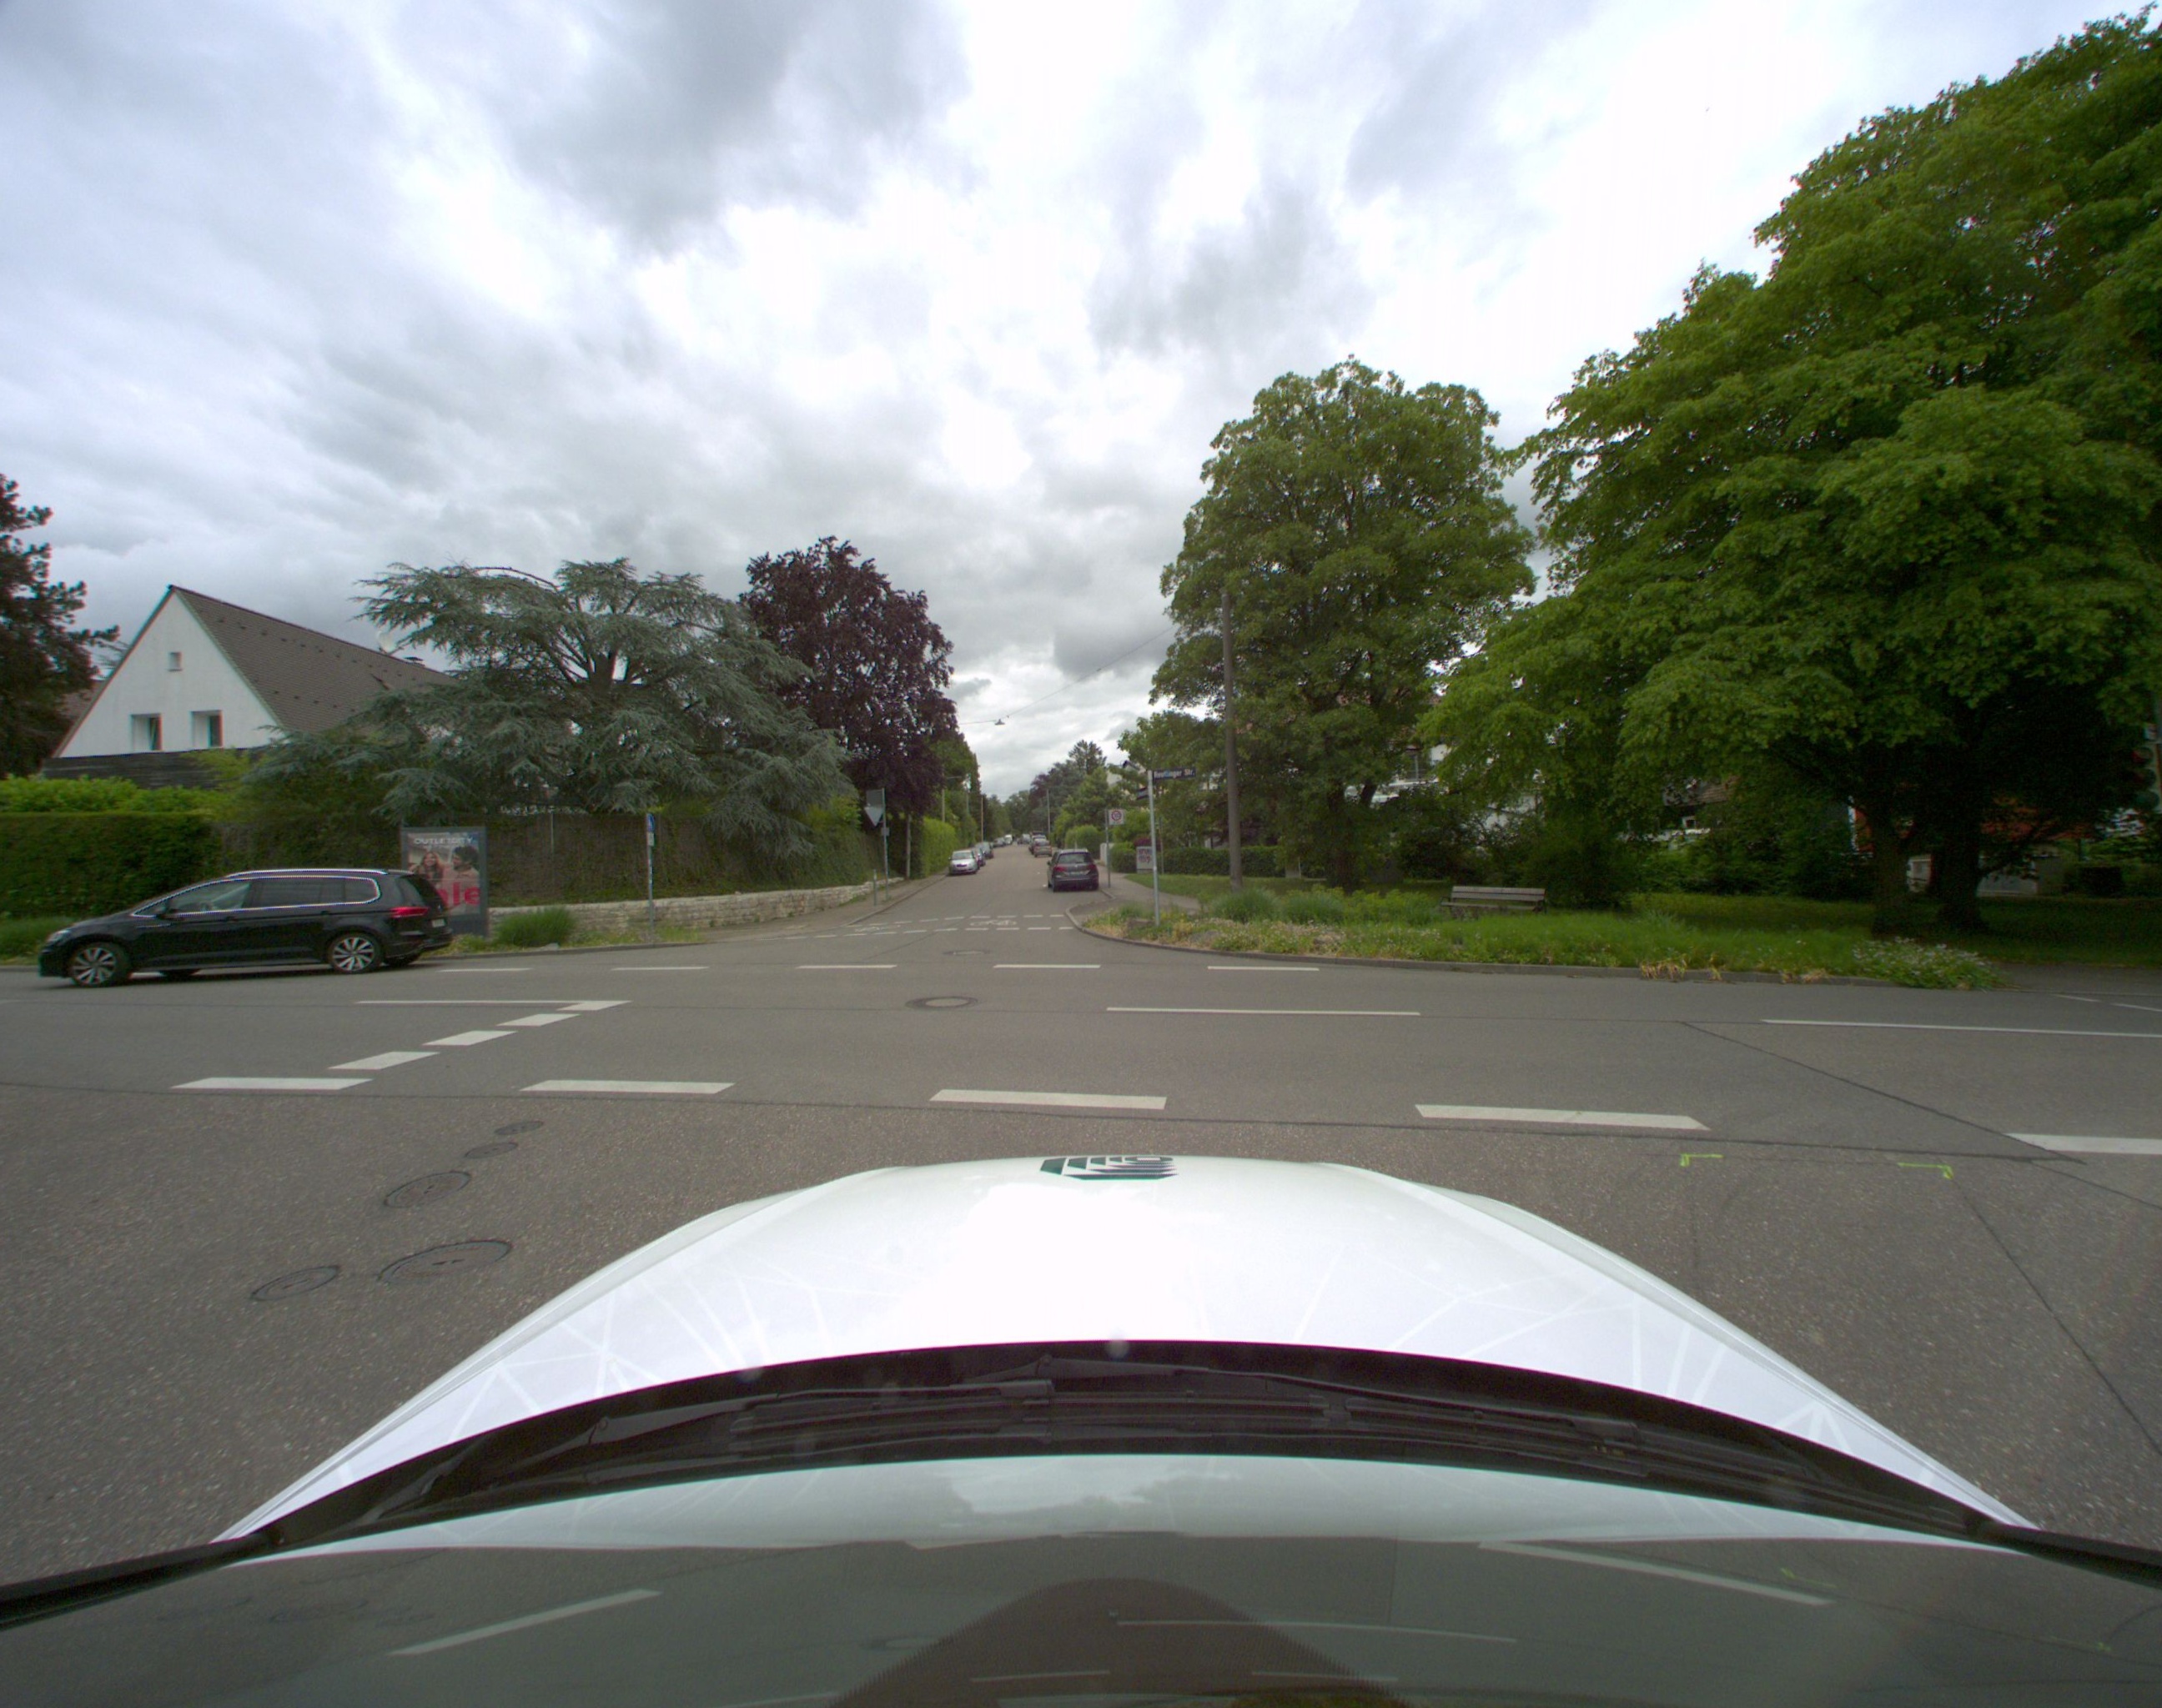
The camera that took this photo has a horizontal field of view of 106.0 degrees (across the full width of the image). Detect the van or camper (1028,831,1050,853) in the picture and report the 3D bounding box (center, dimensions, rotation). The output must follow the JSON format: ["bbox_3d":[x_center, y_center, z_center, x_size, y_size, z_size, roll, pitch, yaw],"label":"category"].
[{"bbox_3d":[-5.029,-1.377,96.686,2.111,2.404,5.233,-2,0,-7],"label":"van or camper"}]

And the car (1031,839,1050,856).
[{"bbox_3d":[-4.243,-0.684,84.830,1.745,1.640,3.720,-3,0,-6],"label":"car"}]

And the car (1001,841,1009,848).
[{"bbox_3d":[-16.296,-2.024,174.176,1.653,1.335,3.774,0,0,-5],"label":"car"}]

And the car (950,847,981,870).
[{"bbox_3d":[-7.939,0.317,56.161,1.944,1.442,3.991,-2,1,-6],"label":"car"}]

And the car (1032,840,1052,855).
[{"bbox_3d":[-3.608,-0.595,75.069,1.607,1.413,3.464,0,0,-7],"label":"car"}]

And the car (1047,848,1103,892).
[{"bbox_3d":[-0.309,0.576,31.767,1.814,1.536,3.993,-3,0,-5],"label":"car"}]

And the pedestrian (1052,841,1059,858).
[{"bbox_3d":[-2.813,-0.515,88.666,0.756,1.871,0.619,0,0,-5],"label":"pedestrian"}]

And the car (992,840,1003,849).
[{"bbox_3d":[-14.271,-1.670,139.303,1.712,1.463,3.651,0,0,-4],"label":"car"}]

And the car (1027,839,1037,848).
[{"bbox_3d":[-10.944,-2.366,182.757,1.939,1.796,4.183,0,0,-9],"label":"car"}]

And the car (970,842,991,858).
[{"bbox_3d":[-9.798,-0.415,79.419,1.944,1.442,3.991,-2,1,-6],"label":"car"}]

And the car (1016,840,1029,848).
[{"bbox_3d":[-12.682,-2.157,176.660,1.821,1.574,3.974,-3,0,-19],"label":"car"}]

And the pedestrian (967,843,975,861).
[{"bbox_3d":[-12.341,-0.261,91.542,0.853,2.013,0.870,0,0,-10],"label":"pedestrian"}]

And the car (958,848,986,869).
[{"bbox_3d":[-8.202,0.300,61.598,1.944,1.442,3.991,-2,1,-6],"label":"car"}]

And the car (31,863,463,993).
[{"bbox_3d":[-12.635,1.046,12.773,4.315,1.611,1.839,-2,-1,-23],"label":"car"}]

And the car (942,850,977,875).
[{"bbox_3d":[-7.564,0.501,51.032,1.944,1.442,3.991,-2,1,-6],"label":"car"}]
